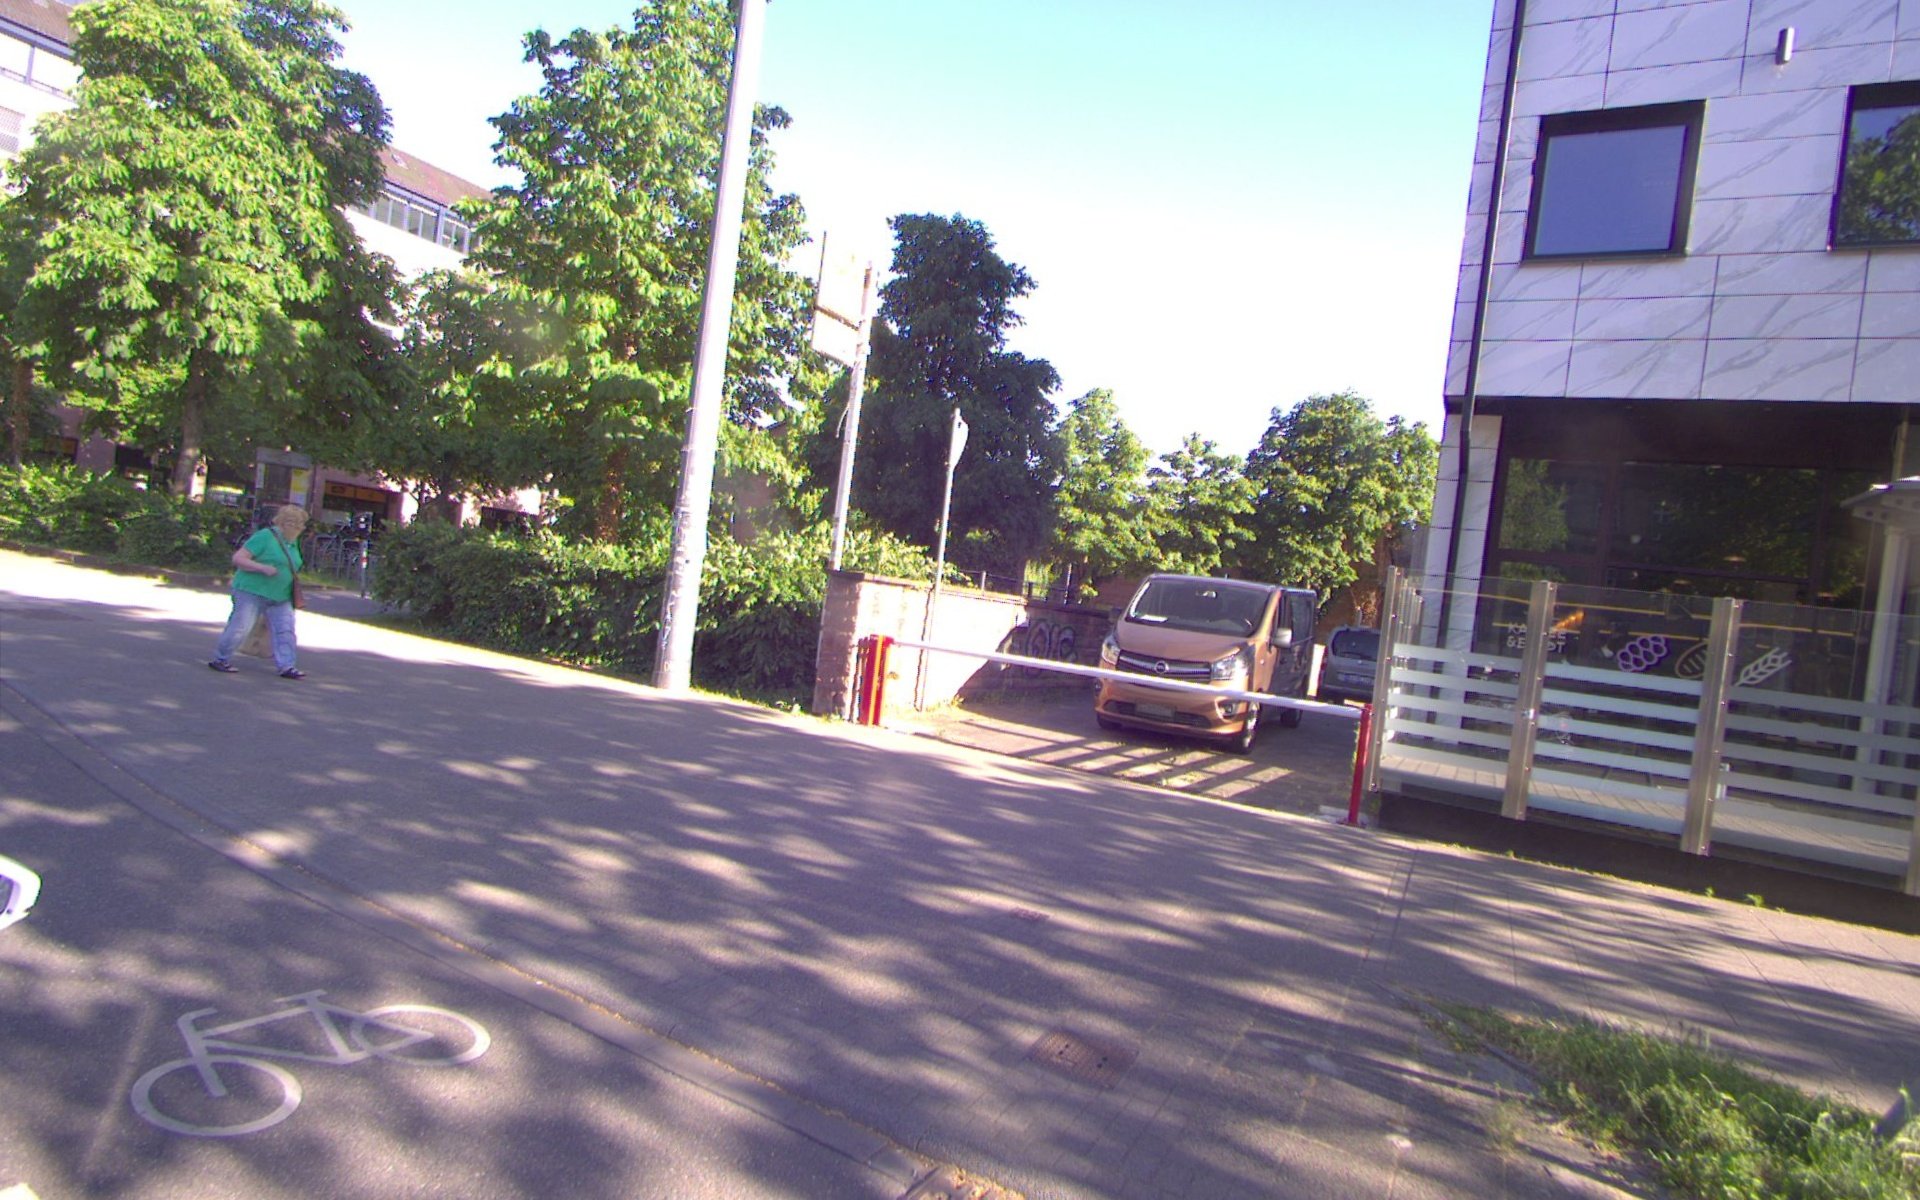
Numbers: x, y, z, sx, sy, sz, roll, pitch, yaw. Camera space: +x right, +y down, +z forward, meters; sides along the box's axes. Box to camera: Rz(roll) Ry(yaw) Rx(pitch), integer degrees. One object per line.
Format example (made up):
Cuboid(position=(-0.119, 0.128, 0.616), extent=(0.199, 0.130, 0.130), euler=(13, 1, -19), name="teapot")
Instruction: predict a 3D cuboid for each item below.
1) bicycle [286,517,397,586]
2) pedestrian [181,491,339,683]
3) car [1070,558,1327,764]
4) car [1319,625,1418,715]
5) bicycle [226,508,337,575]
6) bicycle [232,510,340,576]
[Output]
Cuboid(position=(-13.811, -1.060, 22.535), extent=(0.564, 1.331, 1.998), euler=(7, 2, 31), name="bicycle")
Cuboid(position=(-6.357, -0.111, 9.179), extent=(0.817, 1.595, 0.738), euler=(6, 1, -6), name="pedestrian")
Cuboid(position=(3.326, 0.680, 13.125), extent=(1.880, 2.011, 4.901), euler=(7, 2, 28), name="car")
Cuboid(position=(9.357, 1.571, 22.892), extent=(1.567, 1.692, 3.616), euler=(7, 0, 28), name="car")
Cuboid(position=(-15.625, -1.324, 23.224), extent=(0.564, 1.331, 1.998), euler=(7, 2, 31), name="bicycle")
Cuboid(position=(-15.951, -1.335, 23.866), extent=(0.564, 1.331, 1.998), euler=(7, 2, 31), name="bicycle")
